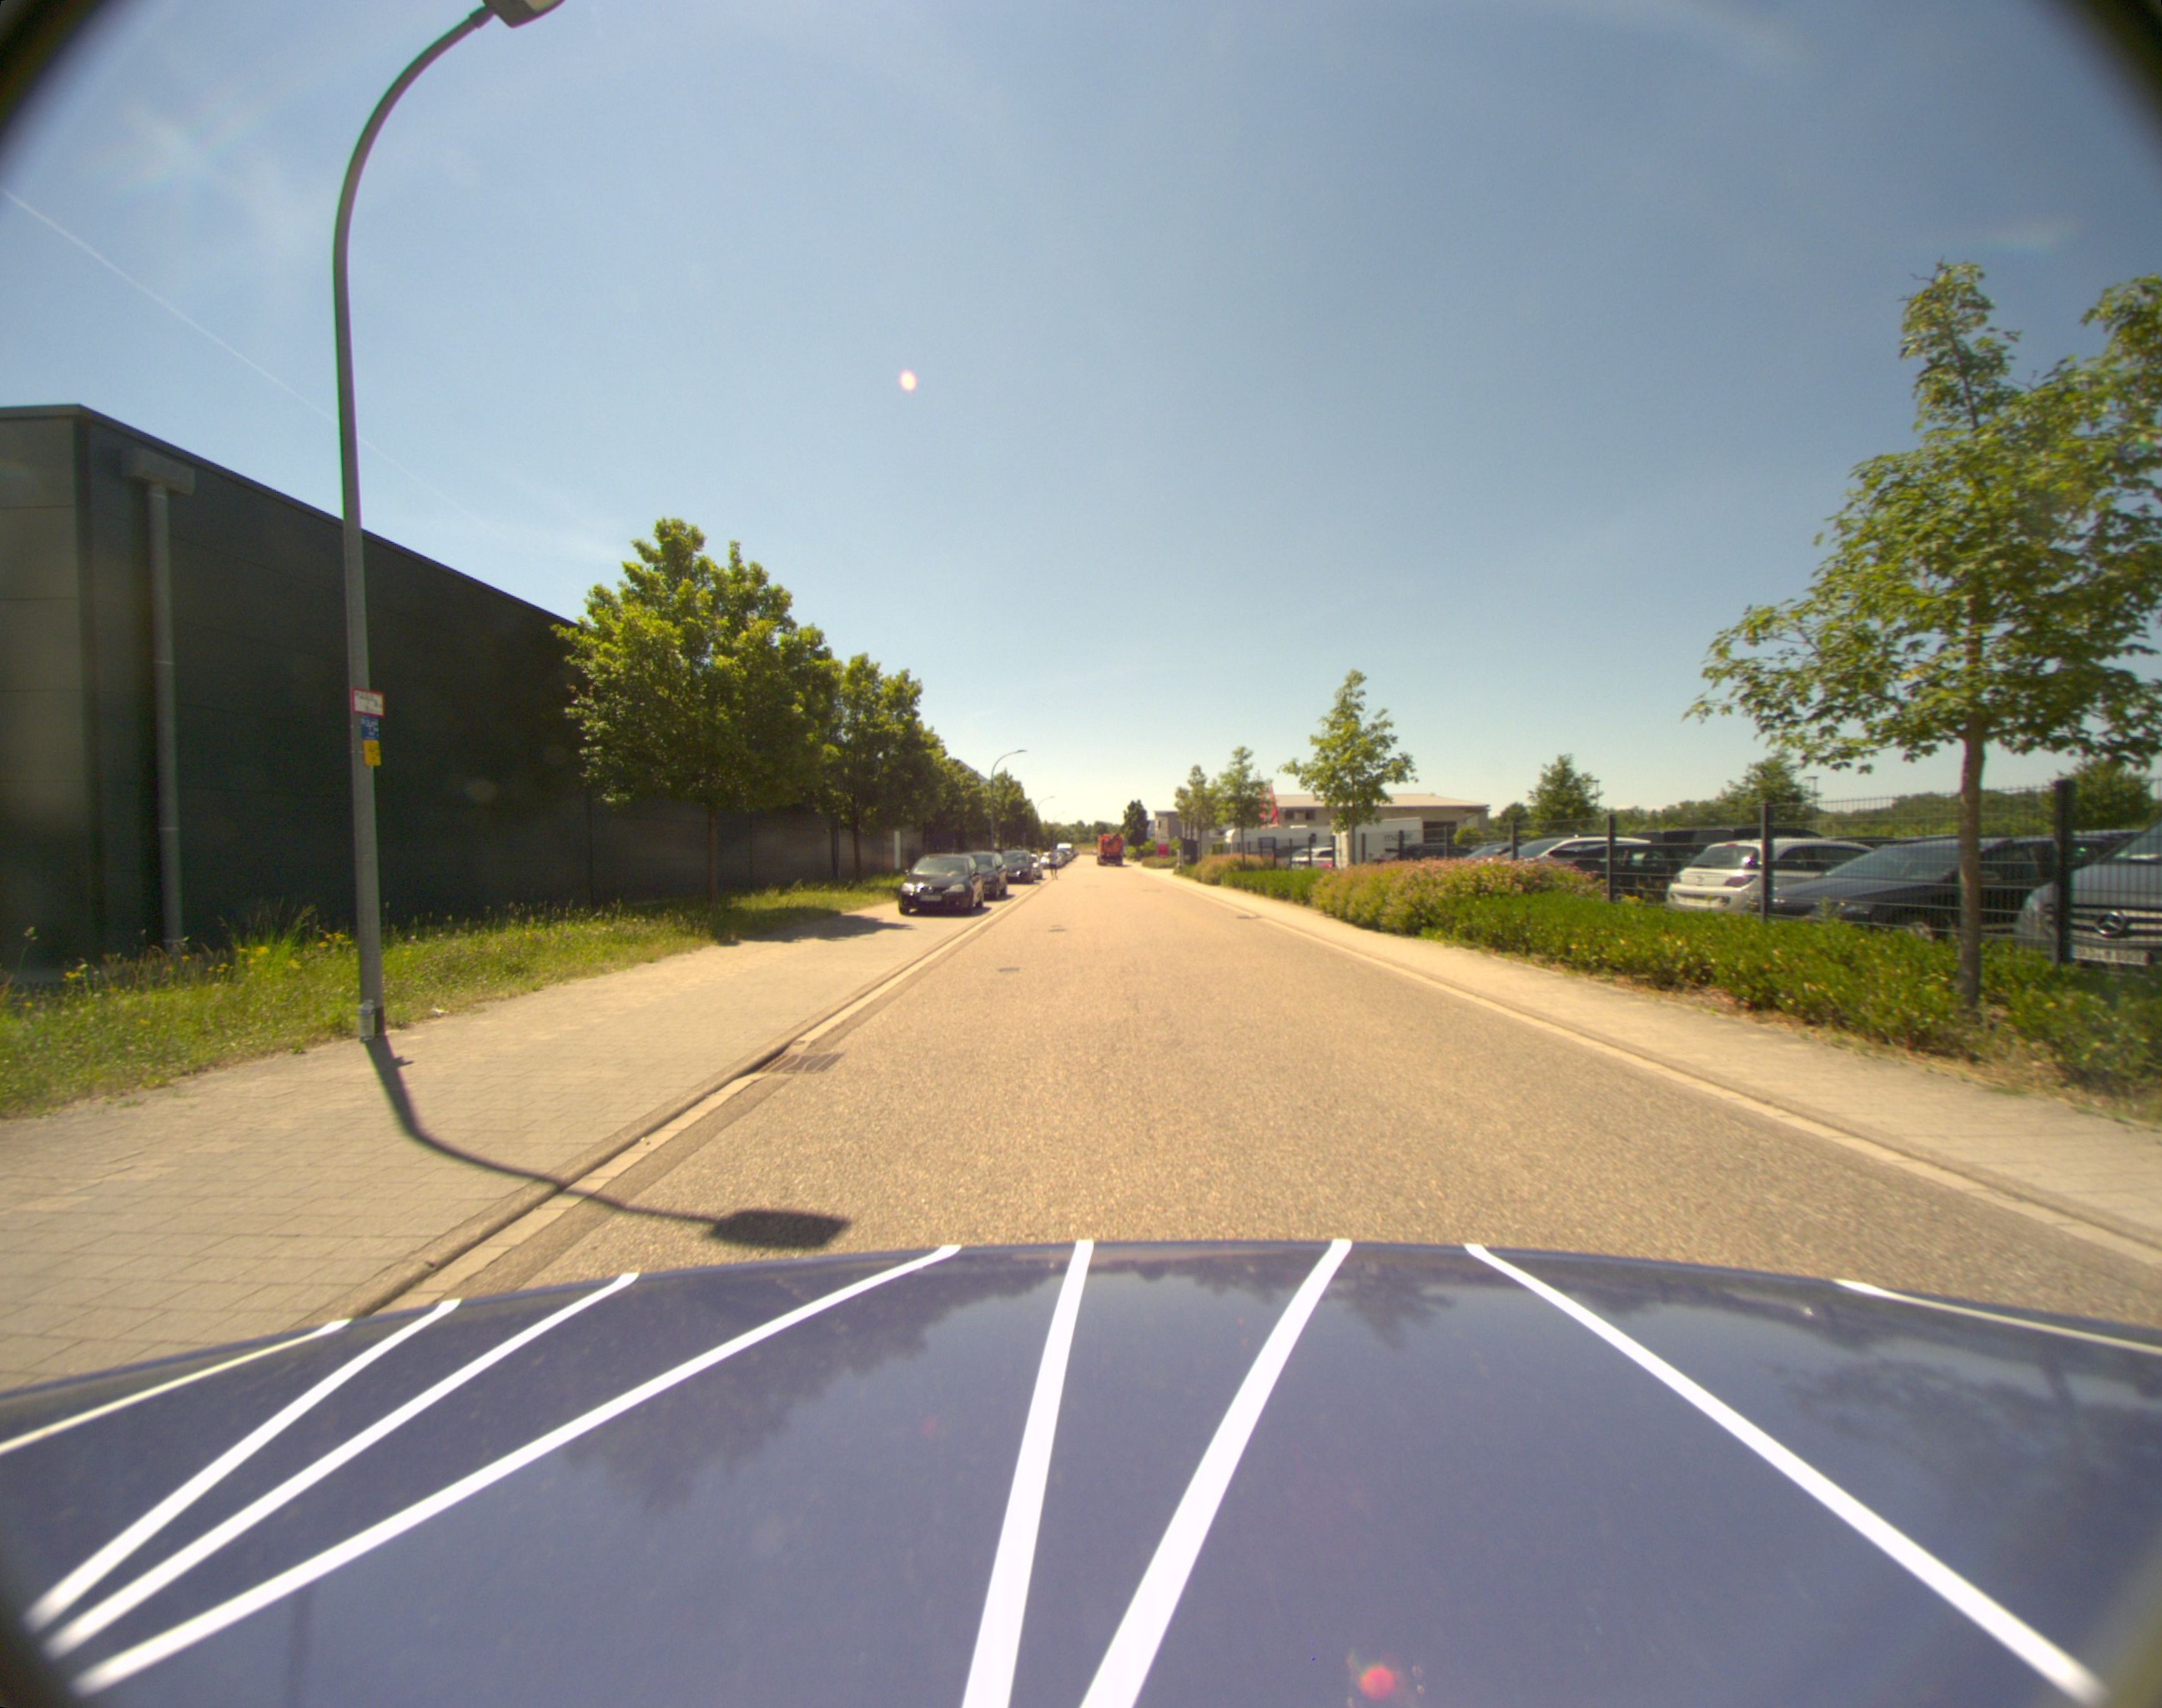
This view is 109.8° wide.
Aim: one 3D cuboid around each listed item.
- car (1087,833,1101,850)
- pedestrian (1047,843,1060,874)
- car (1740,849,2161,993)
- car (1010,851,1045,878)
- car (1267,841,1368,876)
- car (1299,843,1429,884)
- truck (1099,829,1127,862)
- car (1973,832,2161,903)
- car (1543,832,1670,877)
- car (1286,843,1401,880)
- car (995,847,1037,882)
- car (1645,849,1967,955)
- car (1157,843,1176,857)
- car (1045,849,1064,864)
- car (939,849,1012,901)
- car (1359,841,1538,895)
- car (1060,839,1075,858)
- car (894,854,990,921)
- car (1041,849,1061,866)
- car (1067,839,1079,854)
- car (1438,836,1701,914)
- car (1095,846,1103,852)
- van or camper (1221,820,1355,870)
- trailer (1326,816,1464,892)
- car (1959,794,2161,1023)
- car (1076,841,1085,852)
[{"bbox_3d":[2.494,-2.315,142.000,2.600,3.213,6.221,0,1,1],"label":"car"},{"bbox_3d":[-1.603,0.262,44.523,0.704,1.799,0.721,-1,1,0],"label":"pedestrian"},{"bbox_3d":[11.098,0.742,9.413,4.203,1.490,1.904,-1,1,0],"label":"car"},{"bbox_3d":[-3.048,0.583,44.096,1.711,1.449,4.188,1,1,0],"label":"car"},{"bbox_3d":[11.922,0.222,38.441,4.521,1.656,1.777,-1,1,0],"label":"car"},{"bbox_3d":[10.733,0.336,29.060,4.217,1.444,1.999,-1,1,-1],"label":"car"},{"bbox_3d":[3.480,-0.944,85.075,2.606,3.524,10.499,0,1,0],"label":"truck"},{"bbox_3d":[22.052,0.265,16.559,3.480,1.406,1.477,-1,1,0],"label":"car"},{"bbox_3d":[22.177,0.008,32.186,3.997,1.761,2.000,-1,1,-1],"label":"car"},{"bbox_3d":[10.934,0.297,31.809,4.218,1.444,1.776,-1,1,-2],"label":"car"},{"bbox_3d":[-3.182,0.476,37.888,1.742,1.660,4.367,1,1,0],"label":"car"},{"bbox_3d":[11.479,0.705,12.240,3.379,1.490,1.904,-1,1,0],"label":"car"},{"bbox_3d":[10.703,-0.538,95.697,1.998,1.674,4.000,0,1,1],"label":"car"},{"bbox_3d":[-2.595,0.229,74.810,1.736,1.501,3.844,0,1,0],"label":"car"},{"bbox_3d":[-3.505,0.639,26.024,1.812,1.608,4.714,1,1,0],"label":"car"},{"bbox_3d":[11.198,0.408,23.412,4.558,1.527,2.000,-1,1,1],"label":"car"},{"bbox_3d":[-1.883,-0.772,109.187,2.060,2.683,4.834,0,1,0],"label":"car"},{"bbox_3d":[-3.494,0.781,19.769,1.696,1.468,4.268,1,1,0],"label":"car"},{"bbox_3d":[-2.713,0.283,69.752,1.736,1.501,3.665,1,1,0],"label":"car"},{"bbox_3d":[-1.496,-1.371,141.670,2.060,2.683,4.834,0,1,0],"label":"car"},{"bbox_3d":[11.059,0.458,17.466,4.744,1.619,2.000,-1,1,1],"label":"car"},{"bbox_3d":[4.955,-1.288,205.129,1.868,1.674,4.221,0,1,-3],"label":"car"},{"bbox_3d":[11.416,-0.490,42.368,6.793,2.668,2.575,0,1,1],"label":"van or camper"},{"bbox_3d":[10.750,-0.015,26.177,3.998,2.346,1.726,-2,1,-2],"label":"trailer"},{"bbox_3d":[11.173,0.374,6.492,5.072,1.840,1.964,-1,1,0],"label":"car"},{"bbox_3d":[-0.190,-1.809,186.734,2.060,2.683,4.834,0,1,0],"label":"car"}]
